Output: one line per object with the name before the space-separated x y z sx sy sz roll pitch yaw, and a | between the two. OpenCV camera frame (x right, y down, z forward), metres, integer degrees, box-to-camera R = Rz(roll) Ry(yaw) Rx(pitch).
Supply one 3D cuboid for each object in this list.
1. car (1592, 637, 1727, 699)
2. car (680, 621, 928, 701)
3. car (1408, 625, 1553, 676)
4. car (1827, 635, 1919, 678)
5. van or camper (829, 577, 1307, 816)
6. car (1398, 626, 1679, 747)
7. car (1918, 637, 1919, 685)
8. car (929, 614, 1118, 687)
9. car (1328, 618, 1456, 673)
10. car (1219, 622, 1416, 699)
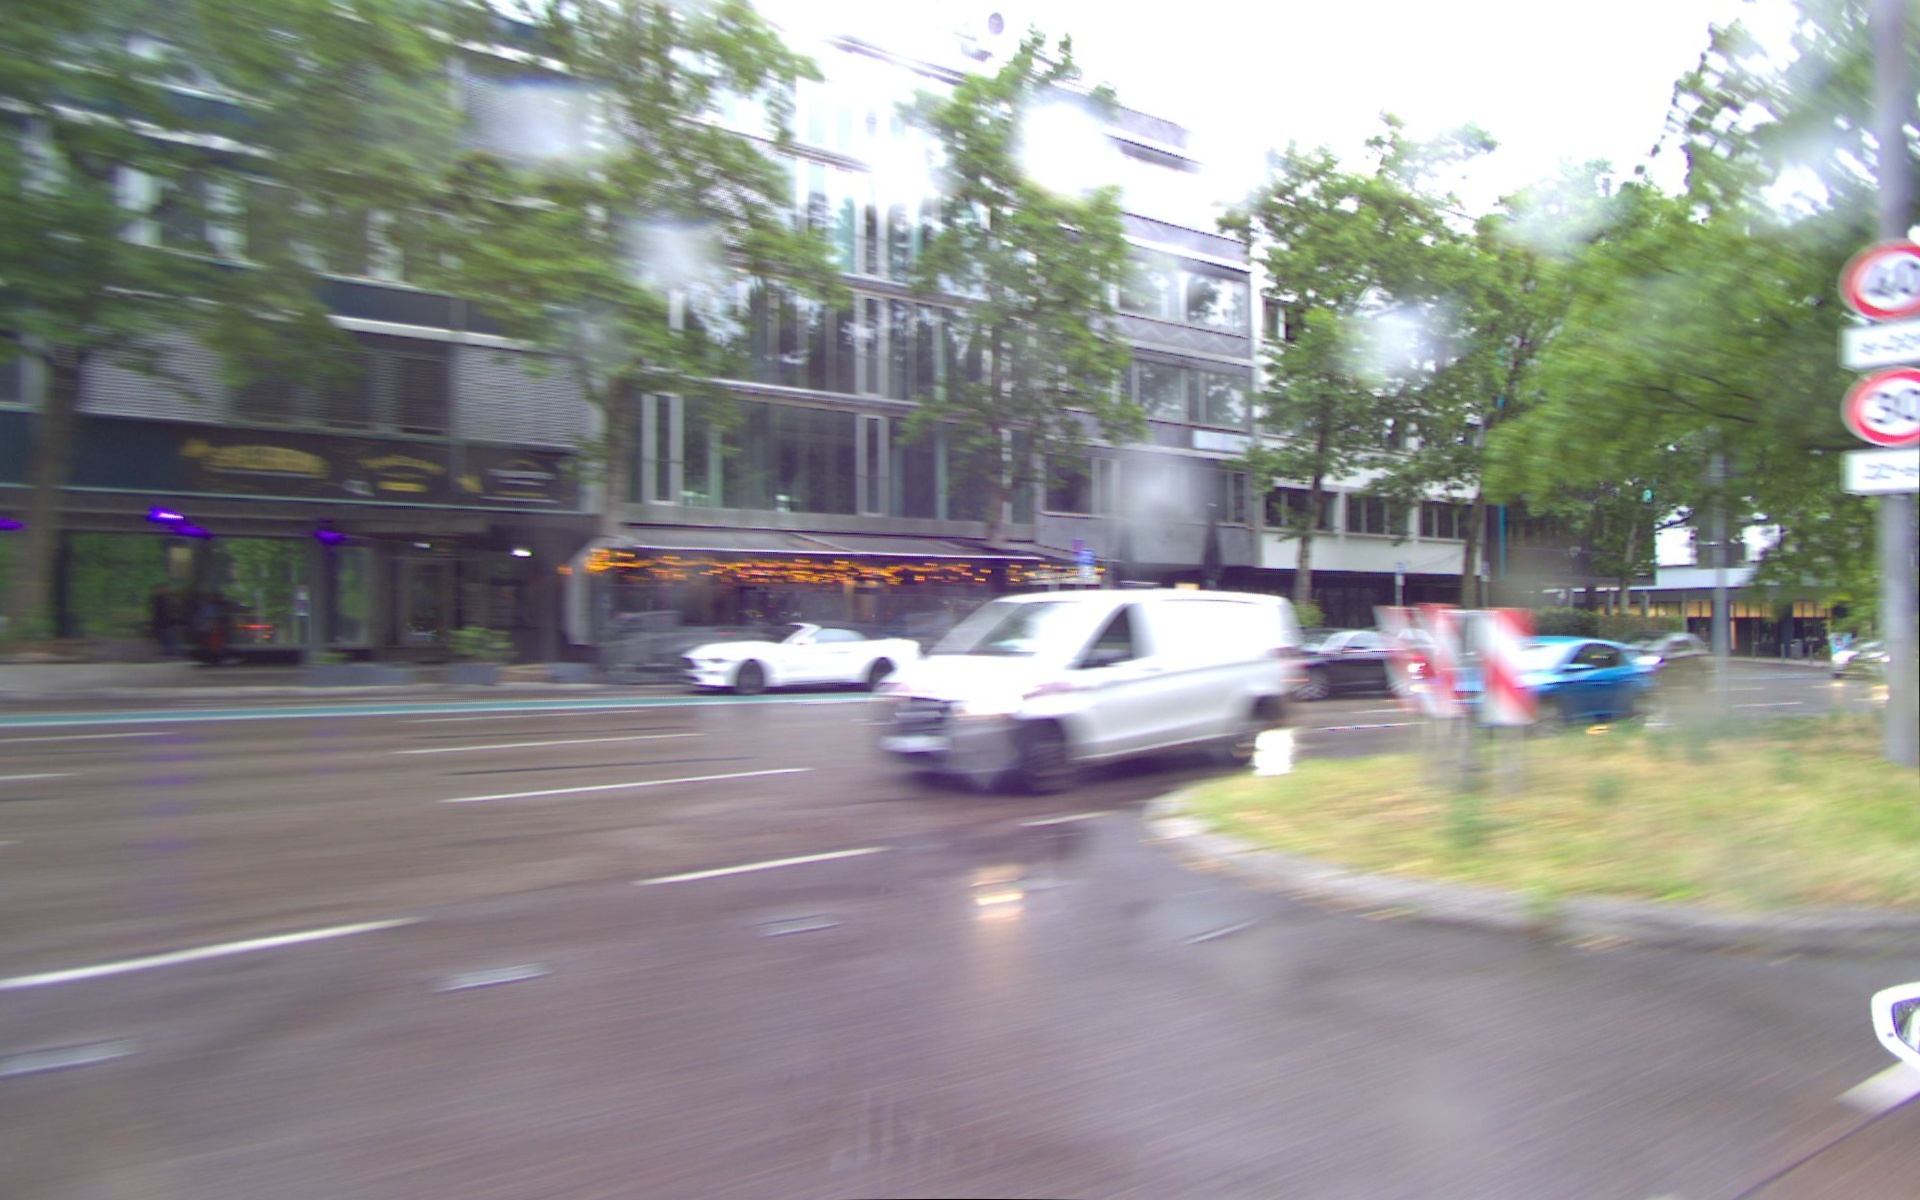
car | 17.925 1.696 25.743 3.010 1.386 1.712 0 0 -29
car | -3.036 1.140 19.910 4.627 1.371 1.552 0 0 -30
car | 16.103 1.513 31.021 4.847 1.428 1.685 1 -1 -31
car | 32.822 1.970 35.841 3.600 1.448 1.835 1 -1 -31
van or camper | 1.353 0.820 10.578 5.208 1.939 1.977 1 -1 -40
car | 8.846 1.199 15.289 4.344 1.502 1.834 0 0 -31
car | 31.899 1.962 31.300 4.043 1.495 1.742 2 0 -27
car | 1.462 1.080 22.679 3.953 1.528 1.828 1 -1 -31
car | 12.307 1.250 28.594 3.419 1.488 1.685 1 -1 -31
car | 7.574 1.228 21.217 4.047 1.495 1.741 1 -1 -30
